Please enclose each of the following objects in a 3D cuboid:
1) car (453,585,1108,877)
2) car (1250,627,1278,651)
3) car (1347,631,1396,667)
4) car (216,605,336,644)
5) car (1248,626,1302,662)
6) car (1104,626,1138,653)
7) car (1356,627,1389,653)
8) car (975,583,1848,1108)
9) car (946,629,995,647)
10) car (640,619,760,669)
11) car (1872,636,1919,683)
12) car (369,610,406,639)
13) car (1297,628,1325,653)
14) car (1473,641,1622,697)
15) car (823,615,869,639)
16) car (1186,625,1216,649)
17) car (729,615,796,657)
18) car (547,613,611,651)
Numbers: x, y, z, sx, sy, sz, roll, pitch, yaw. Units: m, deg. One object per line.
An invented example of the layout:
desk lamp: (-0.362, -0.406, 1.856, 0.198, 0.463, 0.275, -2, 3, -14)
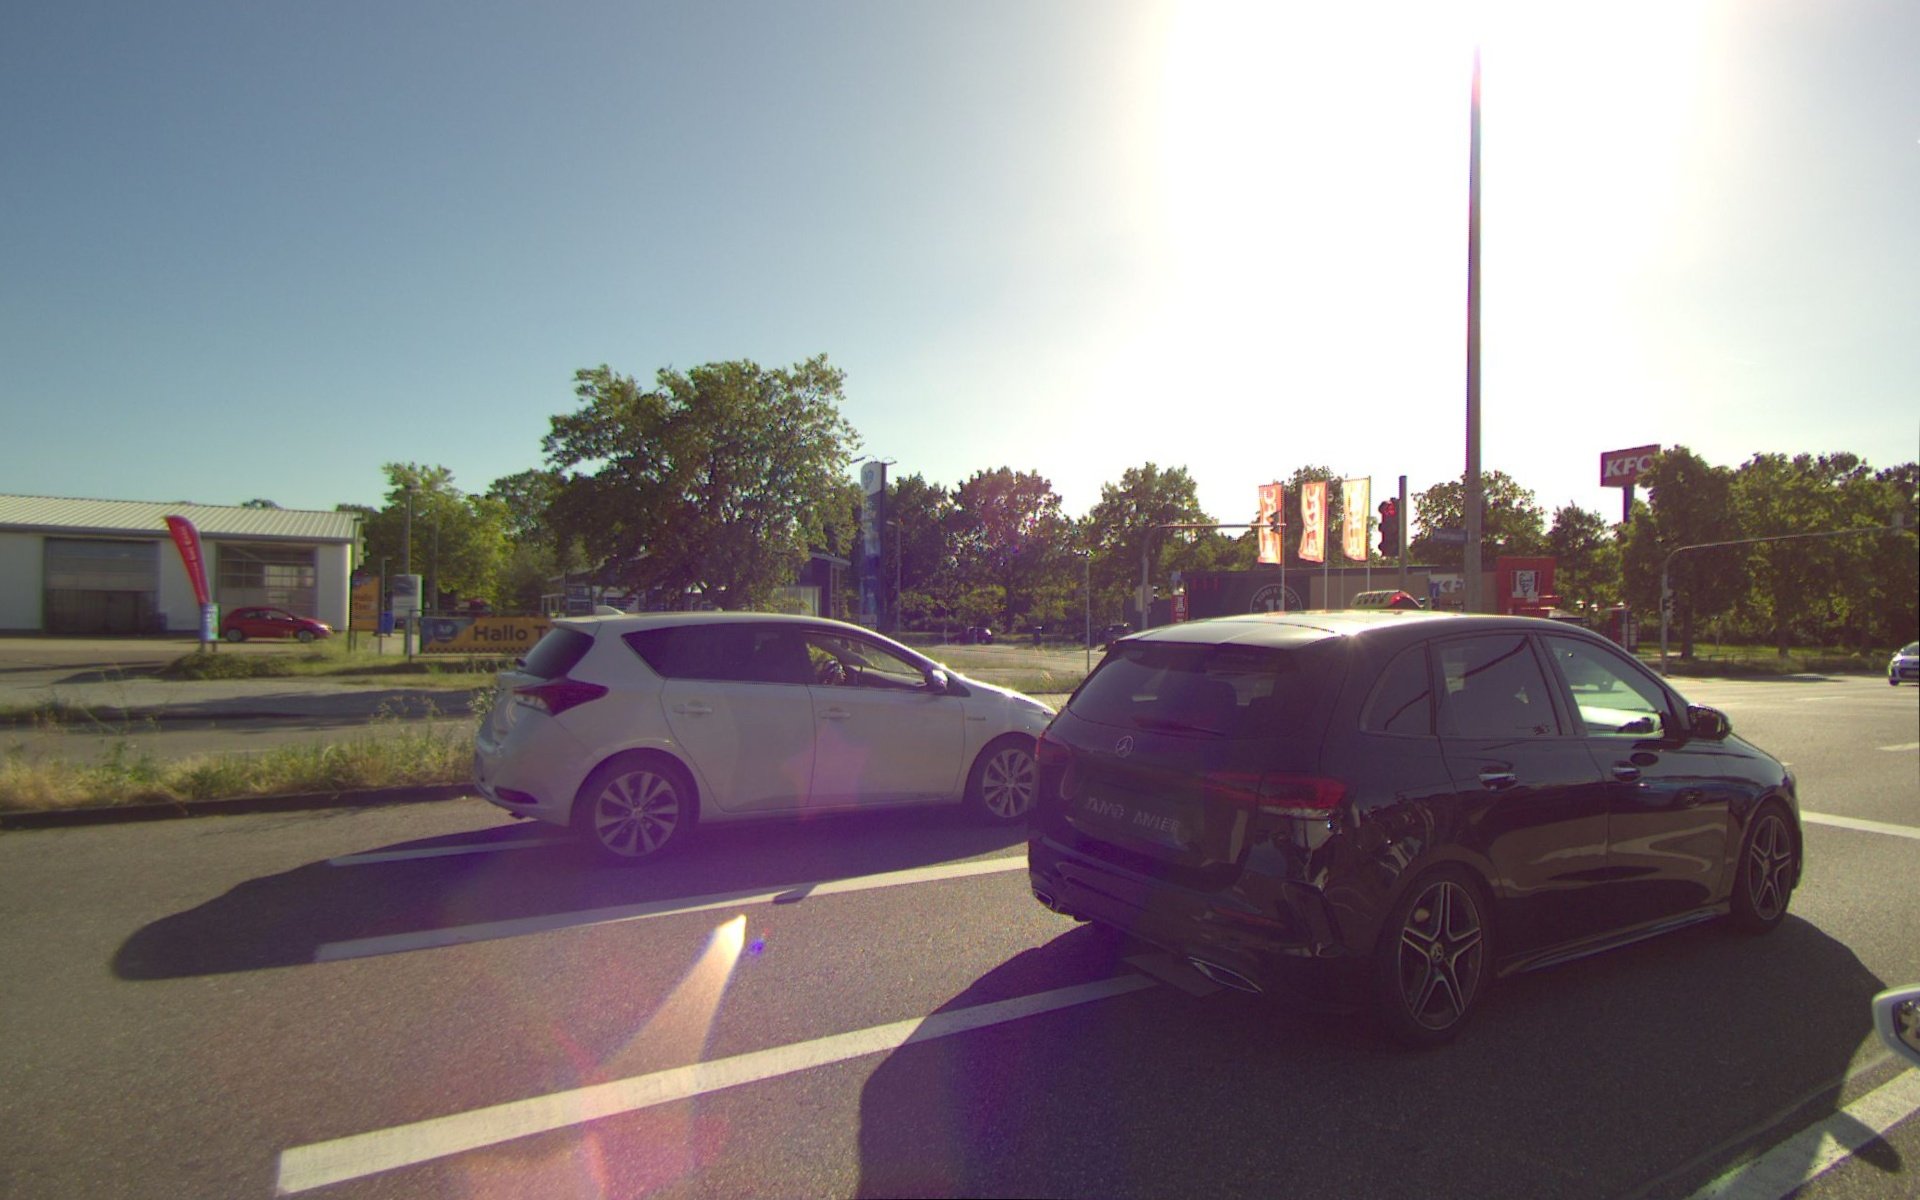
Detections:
car: (-1.143, 0.742, 7.035, 4.150, 1.510, 1.750, 2, 0, -32)
car: (20.272, 2.574, 66.923, 1.629, 1.491, 3.919, 2, 0, 18)
car: (22.114, 2.577, 53.913, 1.880, 1.776, 4.349, 2, 0, 29)
car: (-29.164, 1.045, 42.948, 3.947, 1.536, 1.772, 2, 0, -26)
car: (17.364, 2.393, 55.211, 1.964, 1.788, 4.349, 2, 0, 29)
car: (11.041, 2.696, 68.613, 1.629, 1.695, 3.945, 2, 0, 18)
car: (26.228, 2.528, 63.975, 1.629, 1.491, 3.919, 2, 0, 18)
car: (2.369, 0.796, 4.831, 4.355, 1.510, 1.749, 2, -2, -33)
car: (0.902, 3.250, 85.904, 3.864, 1.481, 1.663, 0, -1, 14)
car: (-9.640, 1.642, 37.297, 3.953, 1.706, 1.859, 2, 0, -30)
car: (32.102, 1.970, 33.248, 3.792, 1.510, 1.751, 2, -3, -30)
car: (-30.306, 1.273, 53.210, 1.635, 1.383, 3.744, 2, 0, -30)
car: (22.910, 2.598, 65.662, 1.629, 1.491, 3.919, 2, 0, 18)
car: (16.886, 1.960, 28.829, 4.426, 1.510, 1.751, 2, -3, -30)
car: (-10.100, 2.351, 88.573, 3.945, 1.973, 1.918, 2, 0, 44)
car: (16.237, 2.458, 67.678, 1.629, 1.491, 3.919, 2, 0, 18)
car: (-8.530, 1.521, 43.138, 1.839, 1.613, 3.973, 2, 0, -26)
car: (-17.740, 1.466, 46.705, 1.979, 1.584, 3.964, 2, 0, -33)
